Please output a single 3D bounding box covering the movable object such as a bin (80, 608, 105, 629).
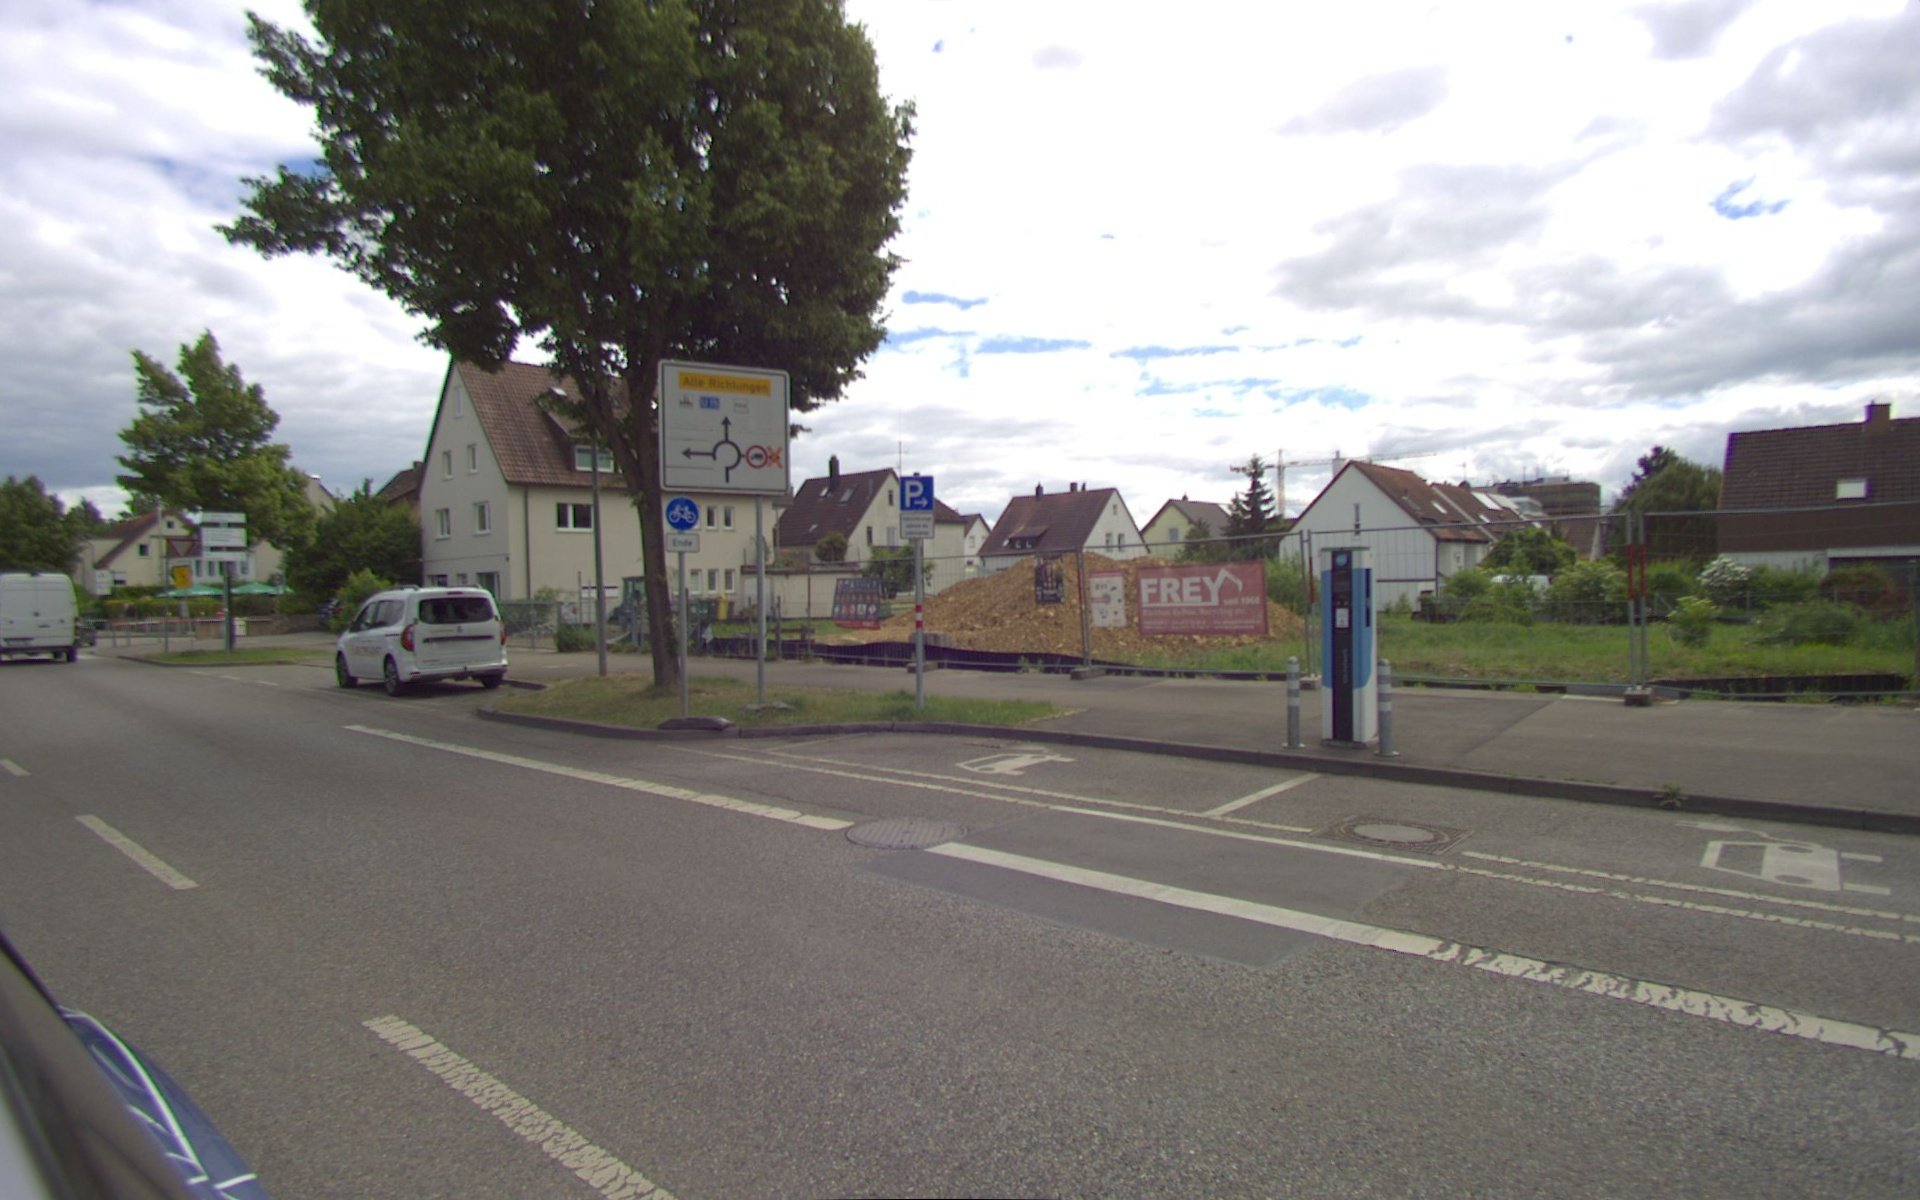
[{"bbox_3d":[-61.877,1.336,72.189,2.721,1.427,0.971,-1,1,41],"label":"movable object such as a bin"}]

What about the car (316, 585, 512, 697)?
[{"bbox_3d":[-10.088,0.680,18.555,4.550,1.784,1.751,-1,0,43],"label":"car"}]

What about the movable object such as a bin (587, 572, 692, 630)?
[{"bbox_3d":[-12.736,0.044,40.121,4.357,2.204,1.877,-1,0,39],"label":"movable object such as a bin"}]

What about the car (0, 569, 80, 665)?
[{"bbox_3d":[-28.672,0.507,30.953,5.805,2.694,1.997,-1,0,43],"label":"car"}]

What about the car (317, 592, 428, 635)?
[{"bbox_3d":[-25.876,0.544,44.621,3.874,1.674,1.857,-3,3,-45],"label":"car"}]

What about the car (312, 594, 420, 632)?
[{"bbox_3d":[-27.315,0.553,46.641,1.818,1.547,3.878,0,3,41],"label":"car"}]

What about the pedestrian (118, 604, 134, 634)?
[{"bbox_3d":[-51.527,1.157,62.530,0.627,1.840,0.568,-3,1,-31],"label":"pedestrian"}]
